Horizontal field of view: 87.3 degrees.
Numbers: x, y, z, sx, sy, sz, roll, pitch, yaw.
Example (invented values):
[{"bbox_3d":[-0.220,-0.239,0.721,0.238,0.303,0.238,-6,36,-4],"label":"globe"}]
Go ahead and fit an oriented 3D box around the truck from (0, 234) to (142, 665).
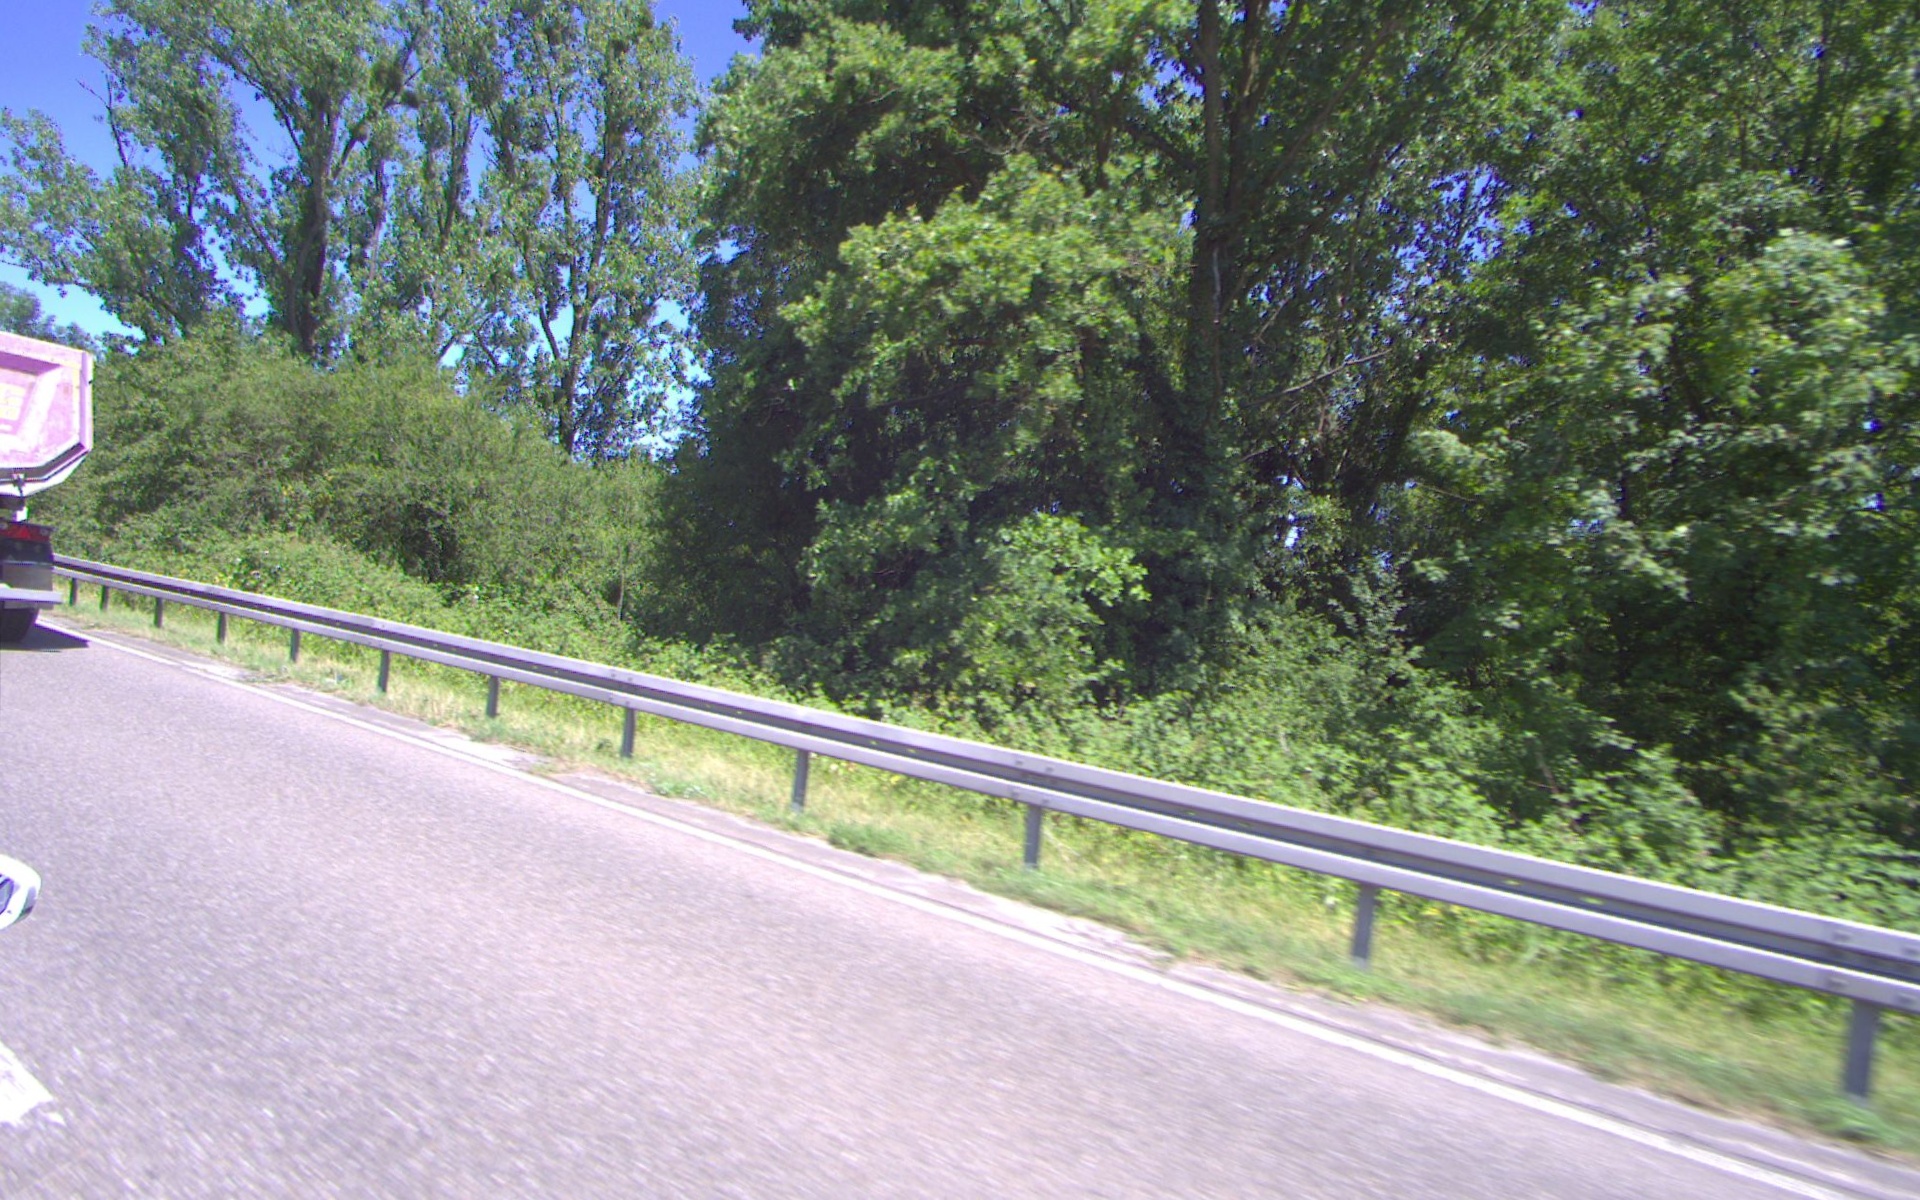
[{"bbox_3d":[-14.400,-2.009,12.316,12.166,3.976,2.725,6,-1,32],"label":"truck"}]
